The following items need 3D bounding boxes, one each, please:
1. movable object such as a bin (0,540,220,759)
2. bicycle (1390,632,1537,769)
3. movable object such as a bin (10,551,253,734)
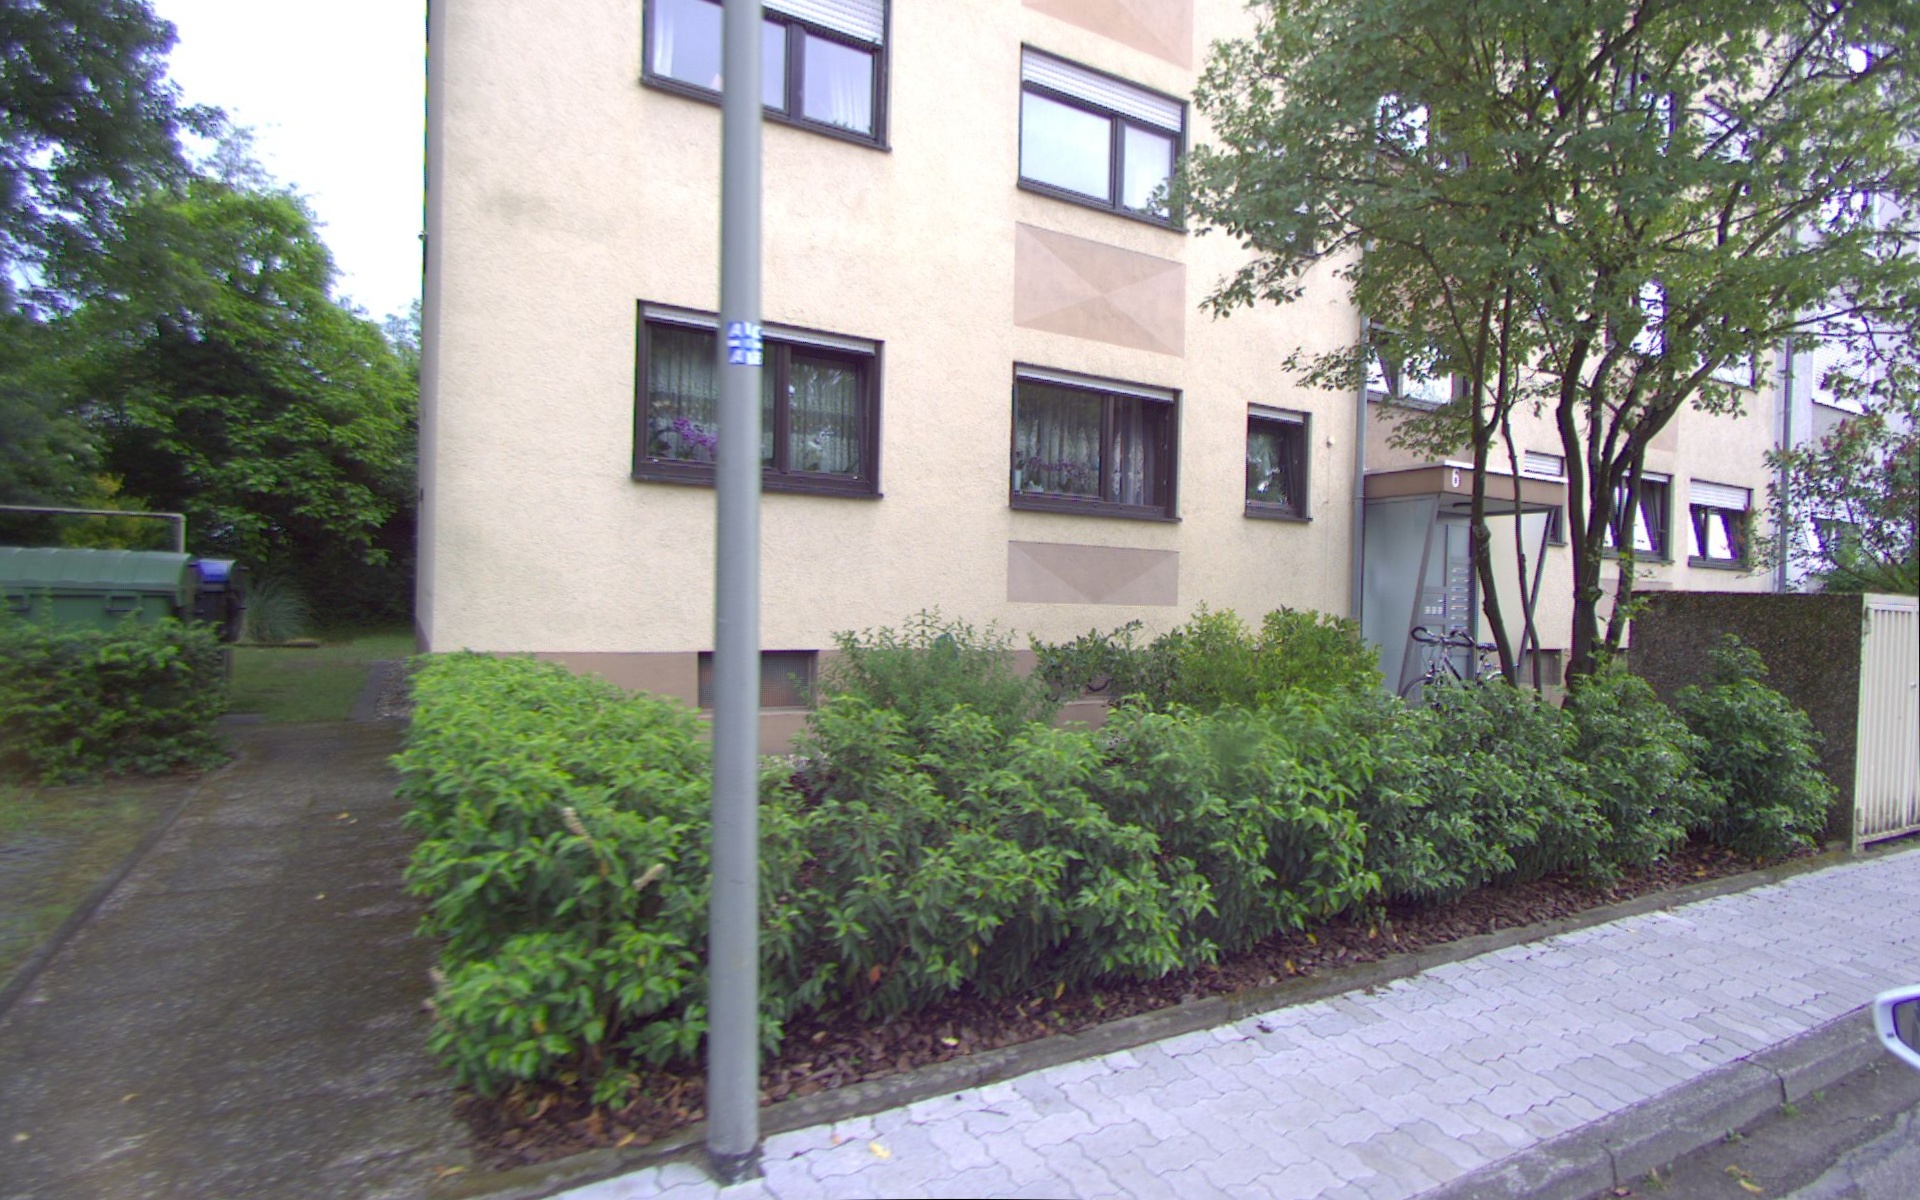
[{"bbox_3d":[-6.364,0.341,7.302,1.463,1.454,1.099,1,-1,-31],"label":"movable object such as a bin"},{"bbox_3d":[4.410,0.836,8.750,1.672,1.065,0.313,-1,1,-32],"label":"bicycle"},{"bbox_3d":[-7.164,0.354,8.812,1.463,1.454,1.099,1,-1,-31],"label":"movable object such as a bin"}]
